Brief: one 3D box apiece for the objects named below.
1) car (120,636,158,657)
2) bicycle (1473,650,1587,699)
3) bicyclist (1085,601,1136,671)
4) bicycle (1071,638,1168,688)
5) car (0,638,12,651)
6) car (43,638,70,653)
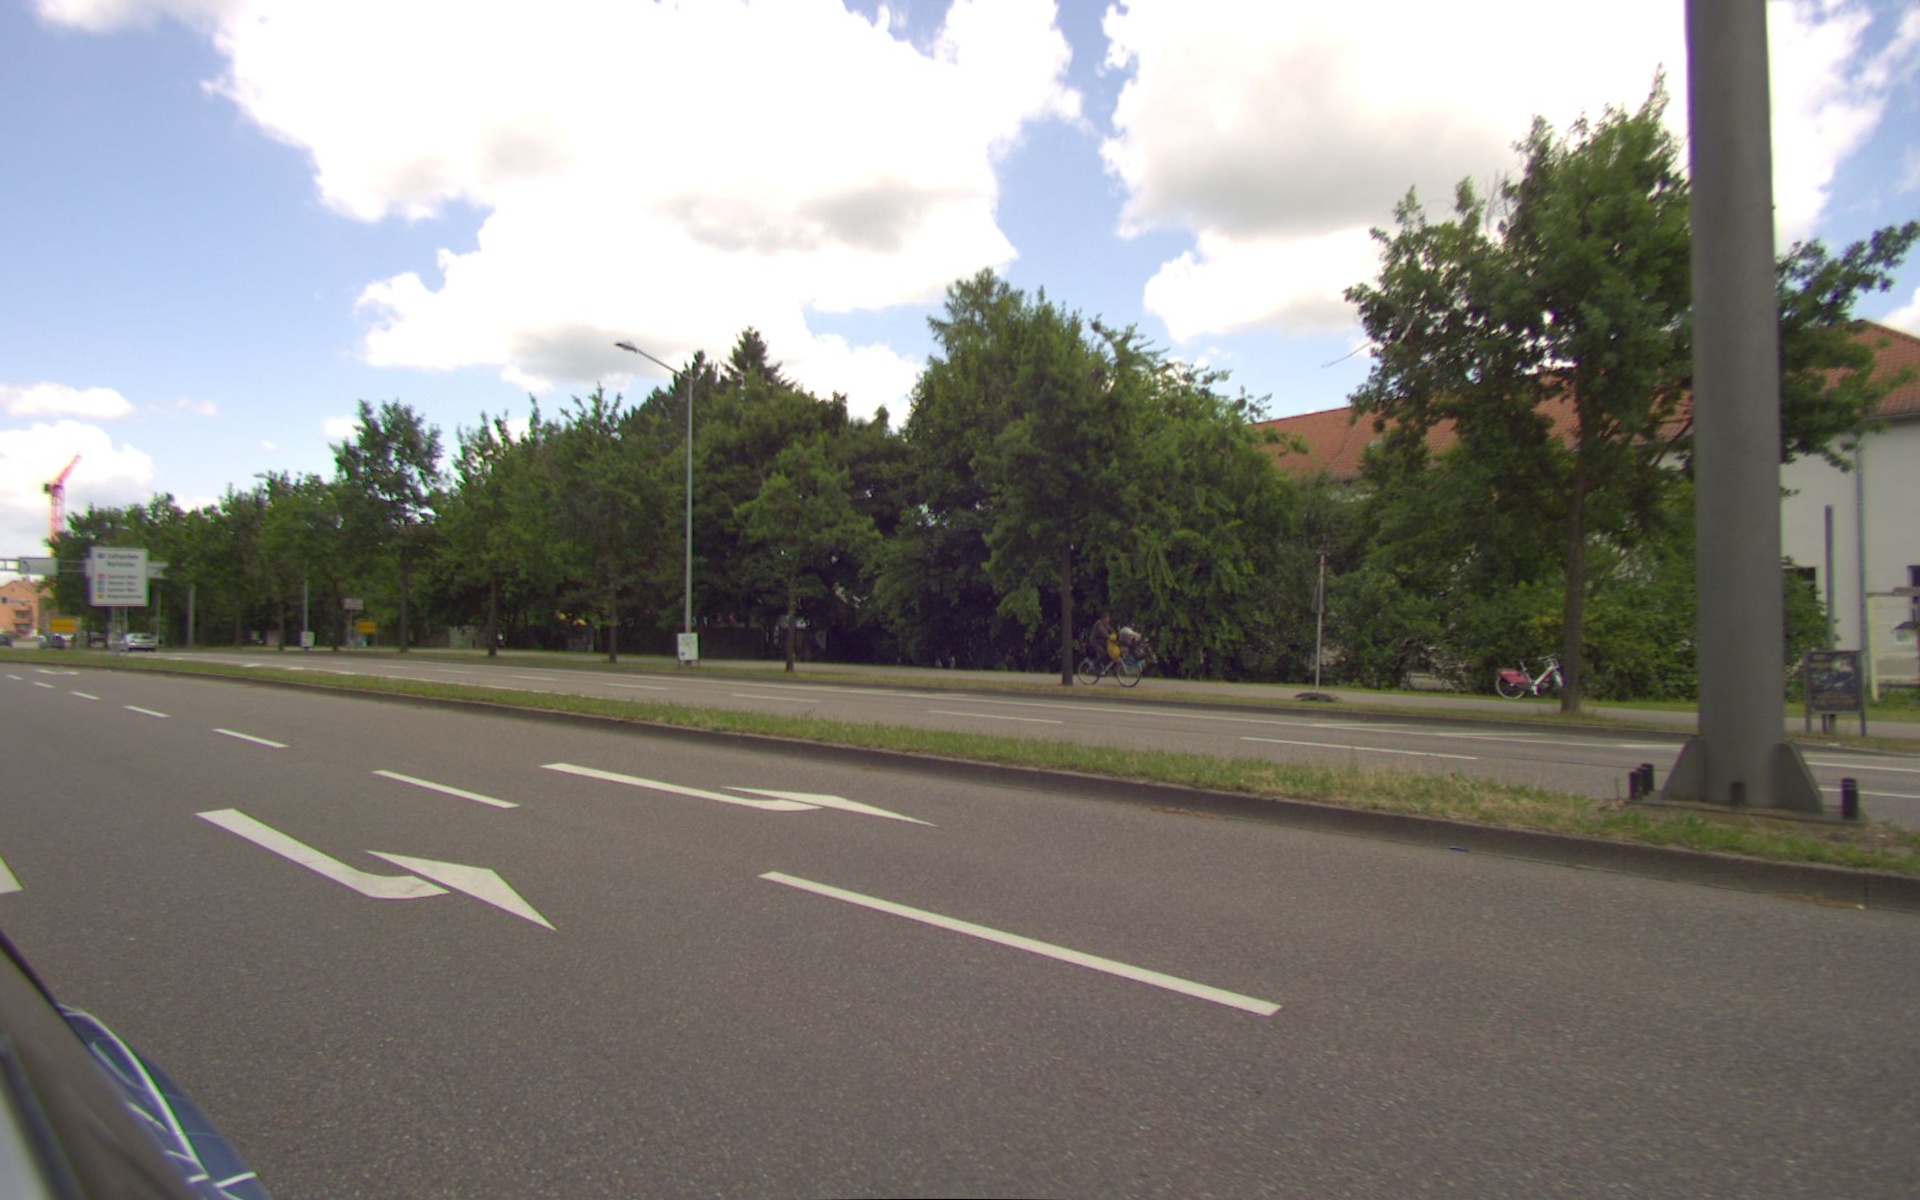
[{"bbox_3d":[-61.471,3.476,75.768,3.697,1.507,1.690,-2,-3,42],"label":"car"},{"bbox_3d":[12.350,1.605,21.943,2.117,1.023,0.665,1,-2,-3],"label":"bicycle"},{"bbox_3d":[3.673,0.869,24.710,0.979,1.671,0.731,-2,-3,37],"label":"bicyclist"},{"bbox_3d":[3.843,1.507,24.560,2.254,1.170,0.743,-2,-3,38],"label":"bicycle"},{"bbox_3d":[-112.701,5.264,118.779,4.071,1.507,1.690,-2,-3,42],"label":"car"},{"bbox_3d":[-93.476,4.669,104.709,4.071,1.507,1.690,-2,-3,42],"label":"car"}]
